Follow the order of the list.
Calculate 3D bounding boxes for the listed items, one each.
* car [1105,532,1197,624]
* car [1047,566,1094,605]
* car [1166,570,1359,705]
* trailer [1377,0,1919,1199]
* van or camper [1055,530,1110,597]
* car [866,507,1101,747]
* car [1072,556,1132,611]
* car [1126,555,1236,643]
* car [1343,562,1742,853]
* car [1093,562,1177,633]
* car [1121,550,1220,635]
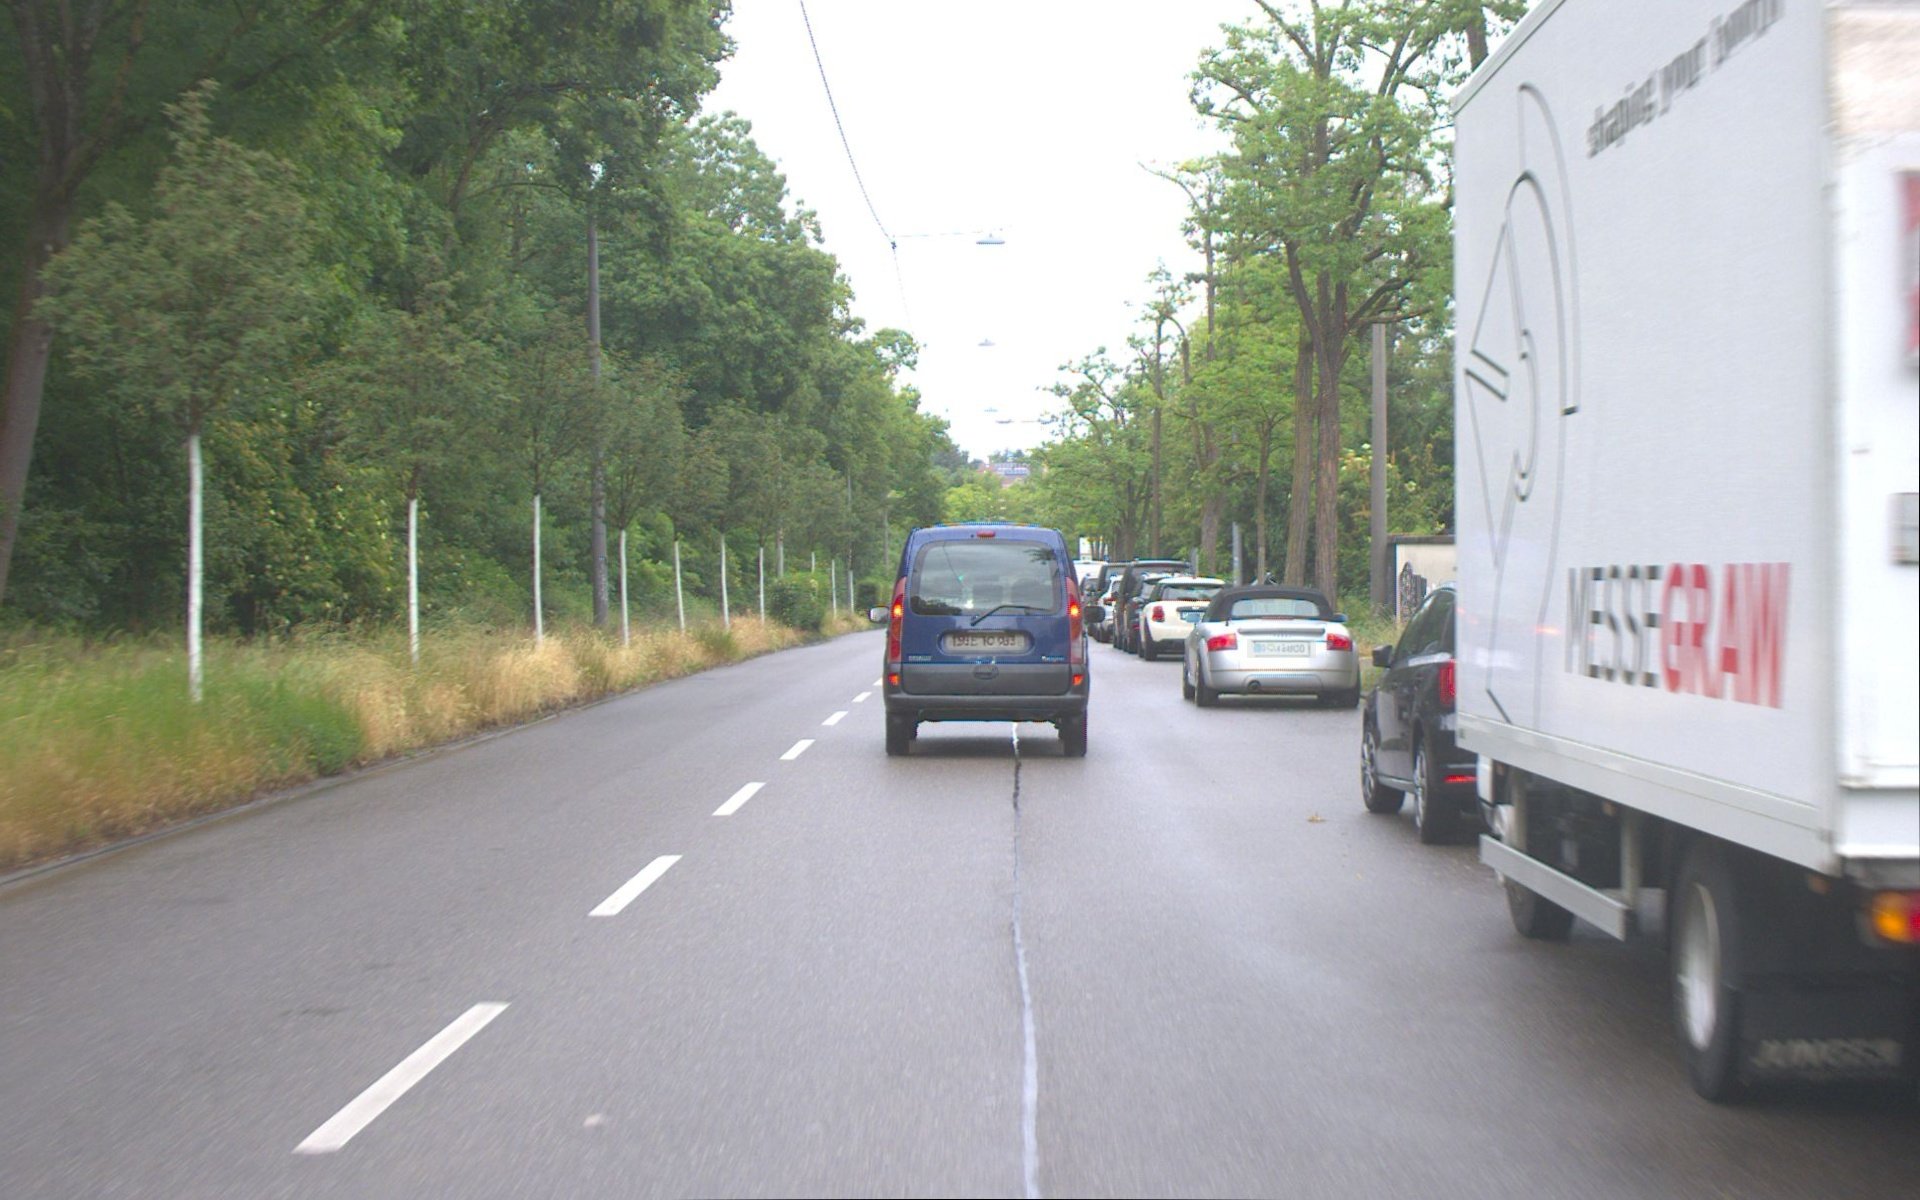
[{"bbox_3d":[3.964,-0.476,71.764,1.730,1.841,4.230,1,1,1],"label":"car"},{"bbox_3d":[4.258,-0.562,131.834,1.626,1.459,3.807,1,1,4],"label":"car"},{"bbox_3d":[3.353,0.386,38.734,1.782,1.390,4.000,1,1,0],"label":"car"},{"bbox_3d":[3.114,-0.416,10.399,2.734,3.496,8.247,1,1,1],"label":"trailer"},{"bbox_3d":[4.939,-1.501,139.330,2.078,2.641,5.346,1,1,1],"label":"van or camper"},{"bbox_3d":[0.131,0.178,28.240,1.767,1.824,3.542,1,1,-2],"label":"car"},{"bbox_3d":[4.875,-0.575,118.573,1.814,1.807,4.283,2,1,-1],"label":"car"},{"bbox_3d":[3.847,-0.048,60.253,1.738,1.459,3.725,1,1,1],"label":"car"},{"bbox_3d":[3.216,0.531,19.677,1.641,1.459,4.000,1,1,1],"label":"car"},{"bbox_3d":[4.153,-0.090,82.288,1.804,1.607,4.286,1,1,0],"label":"car"},{"bbox_3d":[3.969,-0.171,65.313,1.679,1.550,4.075,1,1,1],"label":"car"}]
